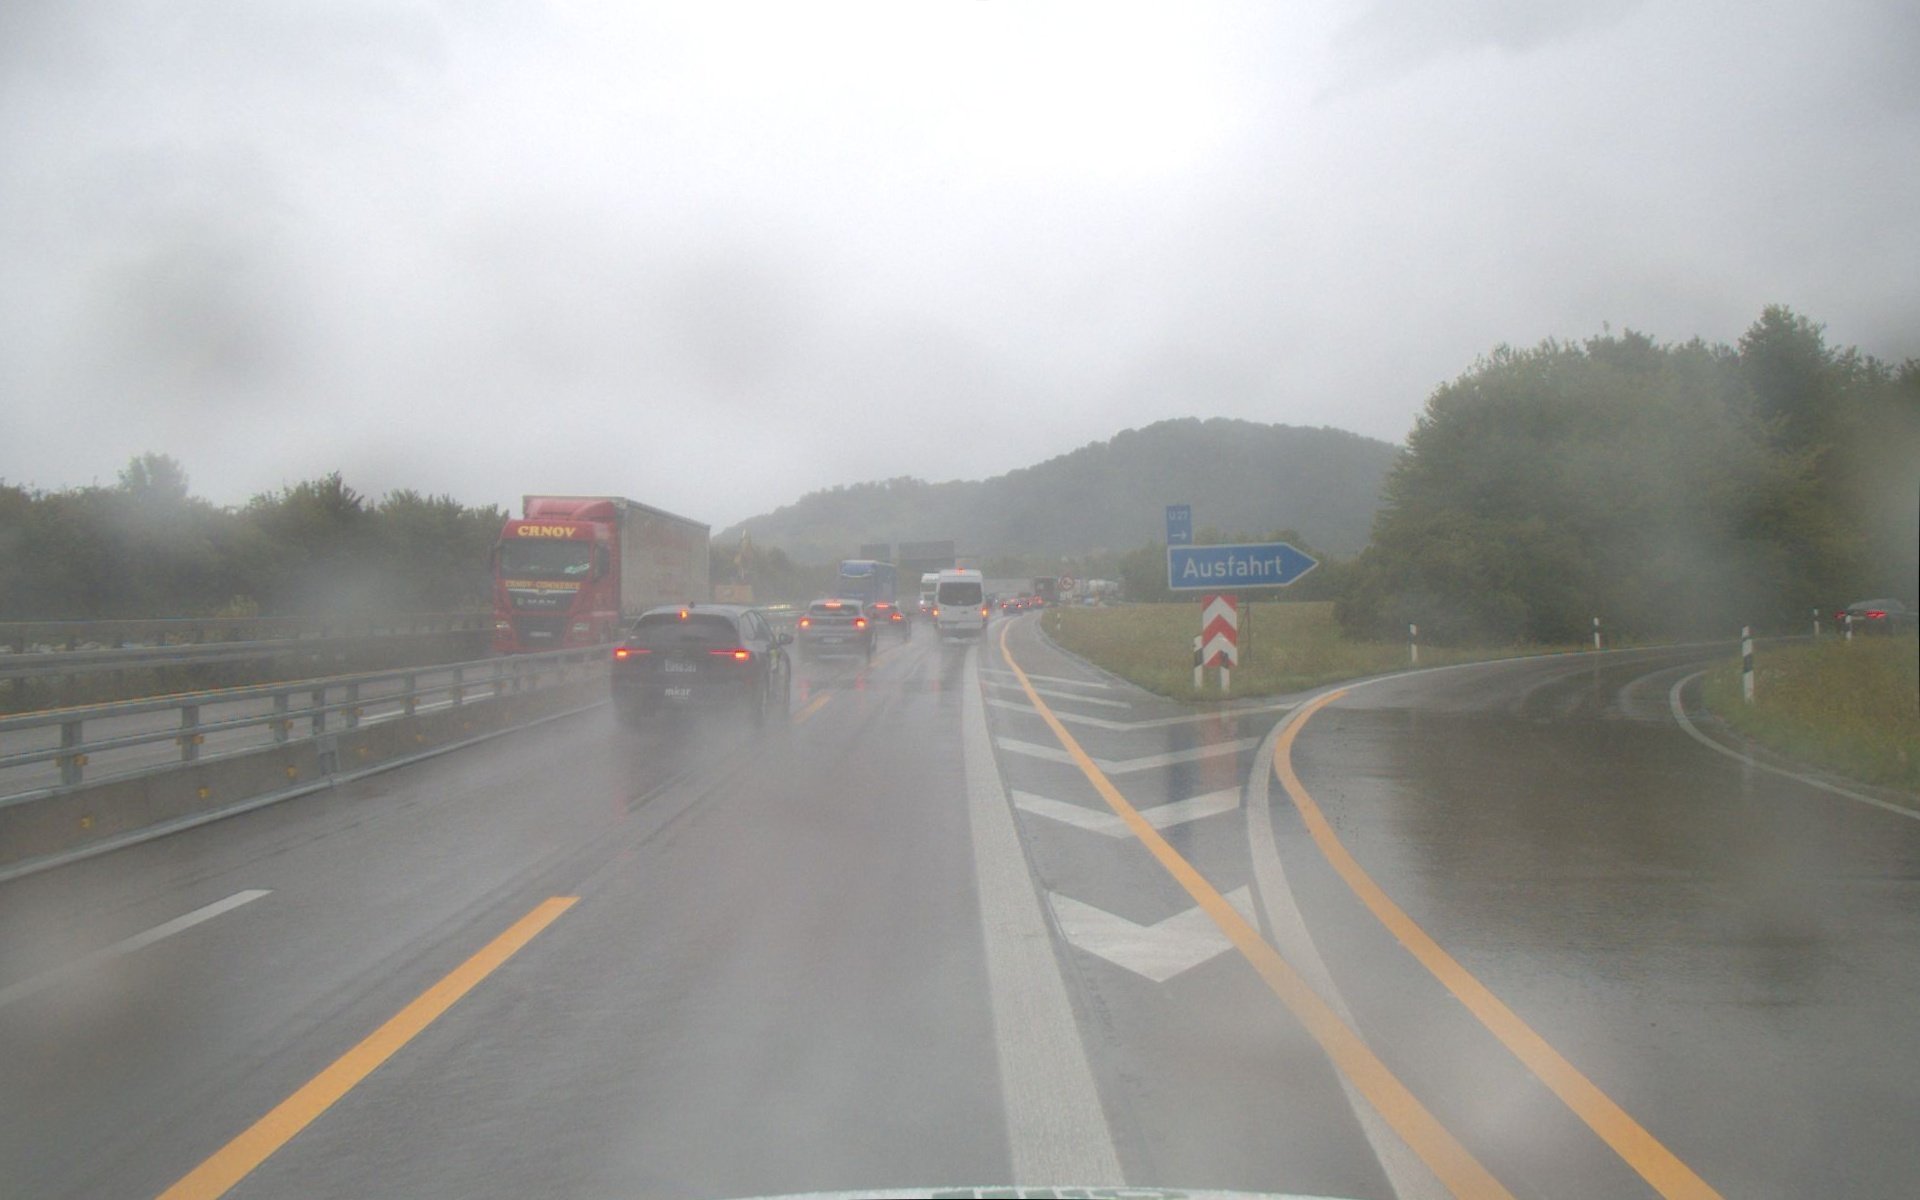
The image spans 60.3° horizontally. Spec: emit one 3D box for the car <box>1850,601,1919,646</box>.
[{"bbox_3d":[33.069,0.844,59.066,1.674,1.534,3.616,1,0,38],"label":"car"}]

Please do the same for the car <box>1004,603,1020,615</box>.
[{"bbox_3d":[4.704,0.795,149.653,1.356,1.097,3.122,0,0,-1],"label":"car"}]

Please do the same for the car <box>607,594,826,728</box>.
[{"bbox_3d":[-2.853,0.667,20.462,1.899,1.452,4.761,0,0,1],"label":"car"}]

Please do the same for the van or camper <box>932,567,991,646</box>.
[{"bbox_3d":[0.020,0.237,60.979,2.096,2.769,4.647,0,0,-1],"label":"van or camper"}]

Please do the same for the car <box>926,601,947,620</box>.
[{"bbox_3d":[-1.422,0.616,99.885,1.237,1.097,3.254,0,0,0],"label":"car"}]

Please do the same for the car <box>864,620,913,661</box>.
[{"bbox_3d":[-2.836,1.586,66.193,1.814,1.527,3.999,0,0,-1],"label":"car"}]

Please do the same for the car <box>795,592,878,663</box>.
[{"bbox_3d":[-3.032,0.652,41.422,1.829,1.688,3.987,0,0,-1],"label":"car"}]

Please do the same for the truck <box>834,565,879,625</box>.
[{"bbox_3d":[-7.342,-0.383,117.878,2.569,4.153,6.671,0,0,2],"label":"truck"}]

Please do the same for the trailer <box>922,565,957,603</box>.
[{"bbox_3d":[-2.273,-1.848,186.882,2.441,4.120,12.596,-1,1,6],"label":"trailer"}]

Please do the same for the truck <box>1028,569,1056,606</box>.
[{"bbox_3d":[11.164,-1.605,224.460,3.250,4.868,9.913,1,0,5],"label":"truck"}]

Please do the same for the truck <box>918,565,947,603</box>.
[{"bbox_3d":[-2.959,-1.738,179.894,2.431,4.101,6.453,0,1,6],"label":"truck"}]

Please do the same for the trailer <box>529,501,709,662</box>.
[{"bbox_3d":[-9.594,-0.450,48.142,2.559,4.077,11.928,1,0,1],"label":"trailer"}]

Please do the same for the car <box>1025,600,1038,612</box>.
[{"bbox_3d":[7.673,0.600,178.023,1.355,1.278,3.123,0,0,2],"label":"car"}]

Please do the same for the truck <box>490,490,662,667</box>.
[{"bbox_3d":[-9.681,-0.484,42.546,2.588,4.119,7.285,1,-1,0],"label":"truck"}]
